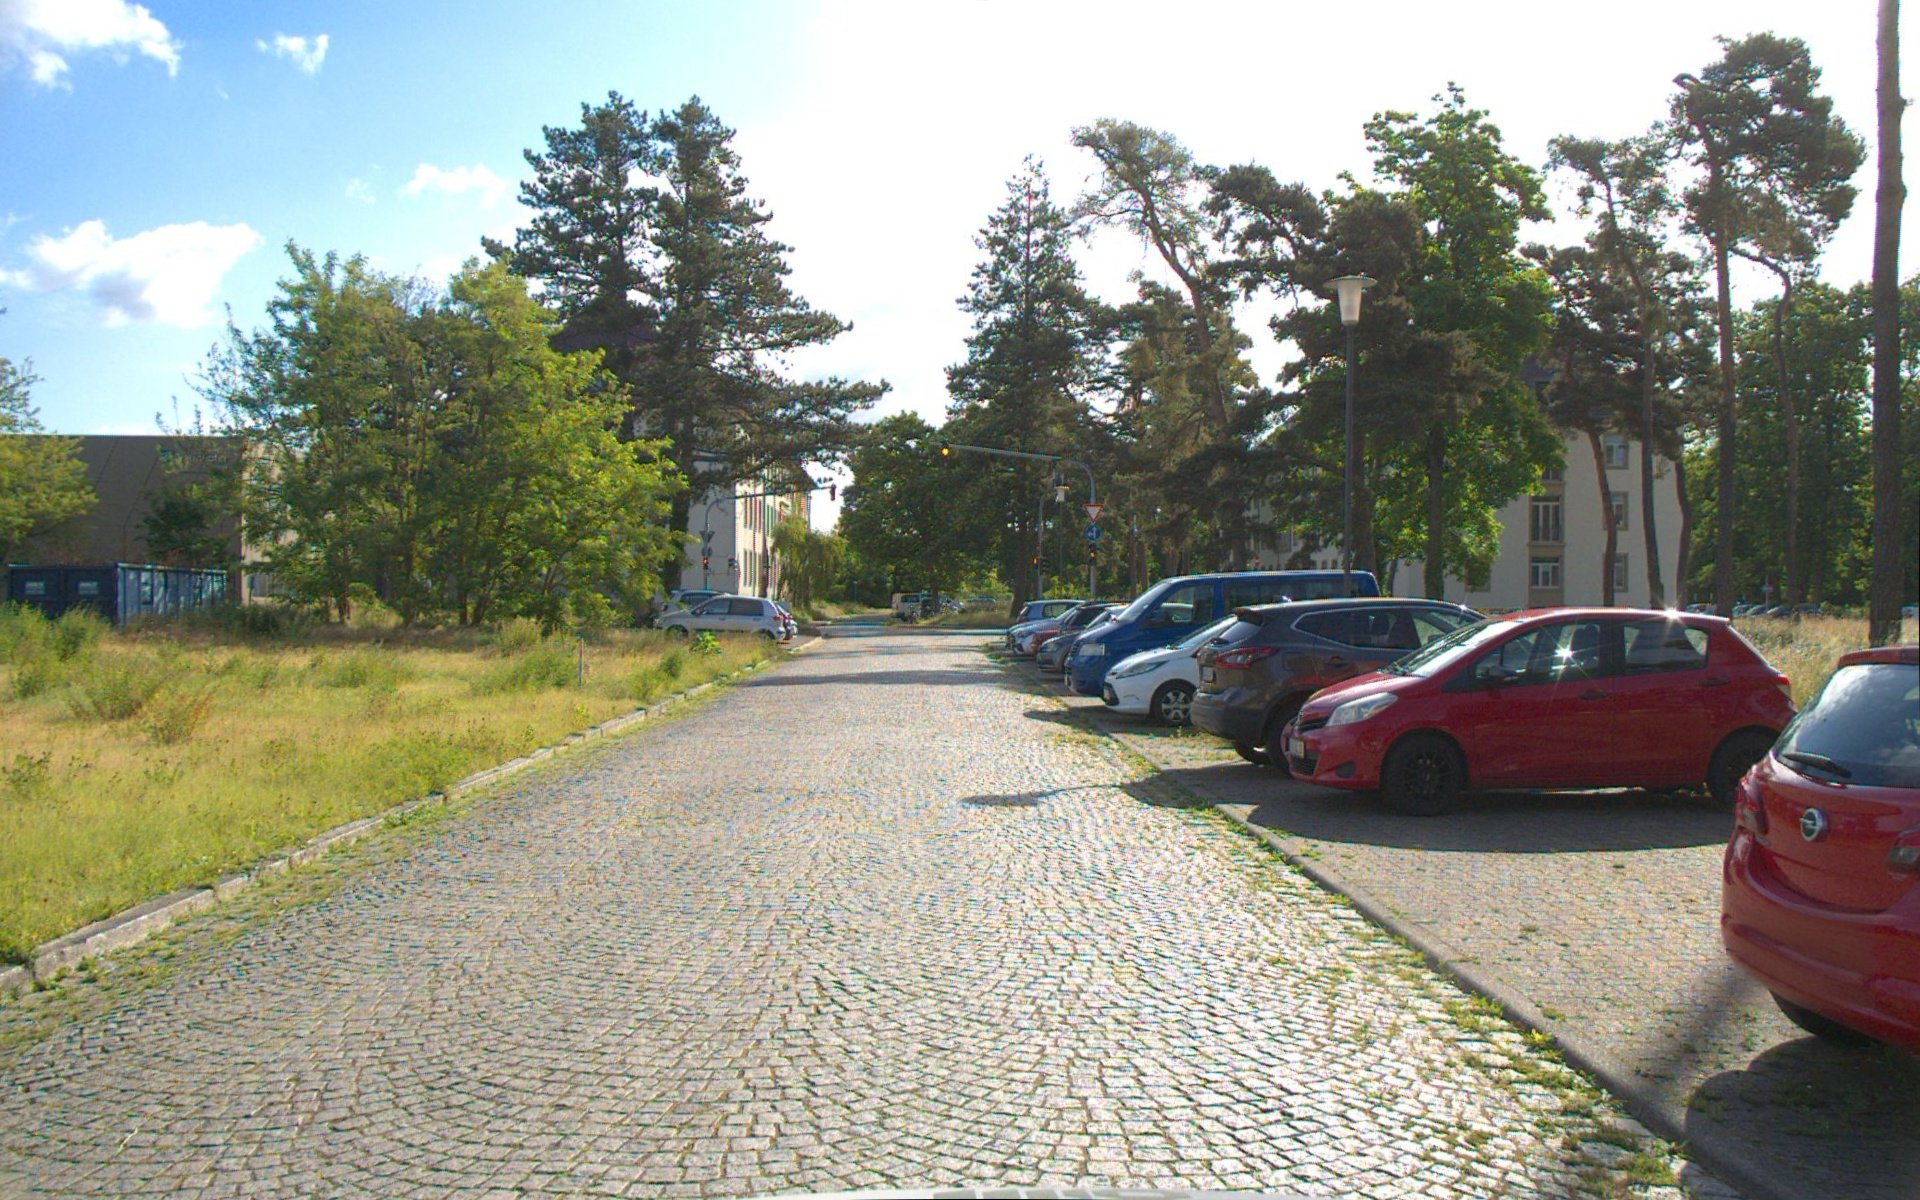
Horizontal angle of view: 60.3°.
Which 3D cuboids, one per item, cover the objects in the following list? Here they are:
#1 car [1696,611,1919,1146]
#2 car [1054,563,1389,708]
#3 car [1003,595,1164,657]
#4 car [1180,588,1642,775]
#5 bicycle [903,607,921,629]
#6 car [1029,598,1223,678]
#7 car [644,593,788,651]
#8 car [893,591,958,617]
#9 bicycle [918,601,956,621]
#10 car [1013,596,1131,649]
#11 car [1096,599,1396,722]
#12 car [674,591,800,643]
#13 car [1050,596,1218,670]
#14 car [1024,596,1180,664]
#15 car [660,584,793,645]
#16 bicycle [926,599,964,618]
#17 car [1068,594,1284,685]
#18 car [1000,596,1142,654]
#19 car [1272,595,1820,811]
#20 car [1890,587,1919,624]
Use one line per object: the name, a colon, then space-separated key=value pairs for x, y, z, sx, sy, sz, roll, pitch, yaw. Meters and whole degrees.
car: x=4.596 y=0.783 z=5.294 sx=3.750 sy=1.504 sz=1.645 roll=-1 pitch=0 yaw=-2
car: x=3.818 y=0.500 z=24.675 sx=4.585 sy=2.049 sz=2.081 roll=0 pitch=0 yaw=-5
car: x=3.165 y=0.666 z=42.872 sx=3.956 sy=1.556 sz=1.643 roll=0 pitch=0 yaw=-6
car: x=4.144 y=0.719 z=15.586 sx=3.857 sy=1.650 sz=1.771 roll=0 pitch=0 yaw=-3
bicycle: x=-2.730 y=1.028 z=93.624 sx=0.789 sy=1.190 sz=2.176 roll=-1 pitch=0 yaw=-8
car: x=3.248 y=0.728 z=32.722 sx=3.602 sy=1.493 sz=1.644 roll=-1 pitch=0 yaw=-3
car: x=-6.914 y=0.611 z=47.158 sx=3.909 sy=1.628 sz=1.998 roll=0 pitch=0 yaw=-5
car: x=-2.409 y=0.276 z=114.576 sx=4.390 sy=1.758 sz=1.999 roll=1 pitch=0 yaw=-3
bicycle: x=-1.366 y=0.652 z=97.135 sx=2.134 sy=1.119 sz=0.804 roll=1 pitch=0 yaw=-12
car: x=3.240 y=0.651 z=48.289 sx=3.277 sy=1.508 sz=1.644 roll=0 pitch=0 yaw=-3
car: x=3.738 y=0.773 z=21.993 sx=3.646 sy=1.514 sz=1.644 roll=-1 pitch=0 yaw=-4
car: x=-7.367 y=0.546 z=54.935 sx=3.907 sy=1.478 sz=1.999 roll=3 pitch=0 yaw=-3
car: x=3.713 y=0.690 z=35.658 sx=3.409 sy=1.556 sz=1.644 roll=0 pitch=0 yaw=-3
car: x=3.254 y=0.679 z=38.335 sx=3.409 sy=1.556 sz=1.644 roll=0 pitch=0 yaw=-3
car: x=-7.360 y=0.449 z=52.534 sx=3.907 sy=1.629 sz=1.999 roll=4 pitch=0 yaw=-3
bicycle: x=-0.914 y=0.495 z=98.643 sx=2.134 sy=1.119 sz=0.804 roll=1 pitch=0 yaw=-12
car: x=3.847 y=0.689 z=29.855 sx=3.619 sy=1.491 sz=1.645 roll=-2 pitch=0 yaw=-1
car: x=3.026 y=0.681 z=45.640 sx=3.759 sy=1.556 sz=1.644 roll=0 pitch=0 yaw=-3
car: x=4.445 y=0.740 z=12.873 sx=3.687 sy=1.557 sz=1.644 roll=0 pitch=0 yaw=-3
car: x=54.394 y=0.278 z=92.290 sx=3.906 sy=2.049 sz=1.999 roll=0 pitch=0 yaw=-2
